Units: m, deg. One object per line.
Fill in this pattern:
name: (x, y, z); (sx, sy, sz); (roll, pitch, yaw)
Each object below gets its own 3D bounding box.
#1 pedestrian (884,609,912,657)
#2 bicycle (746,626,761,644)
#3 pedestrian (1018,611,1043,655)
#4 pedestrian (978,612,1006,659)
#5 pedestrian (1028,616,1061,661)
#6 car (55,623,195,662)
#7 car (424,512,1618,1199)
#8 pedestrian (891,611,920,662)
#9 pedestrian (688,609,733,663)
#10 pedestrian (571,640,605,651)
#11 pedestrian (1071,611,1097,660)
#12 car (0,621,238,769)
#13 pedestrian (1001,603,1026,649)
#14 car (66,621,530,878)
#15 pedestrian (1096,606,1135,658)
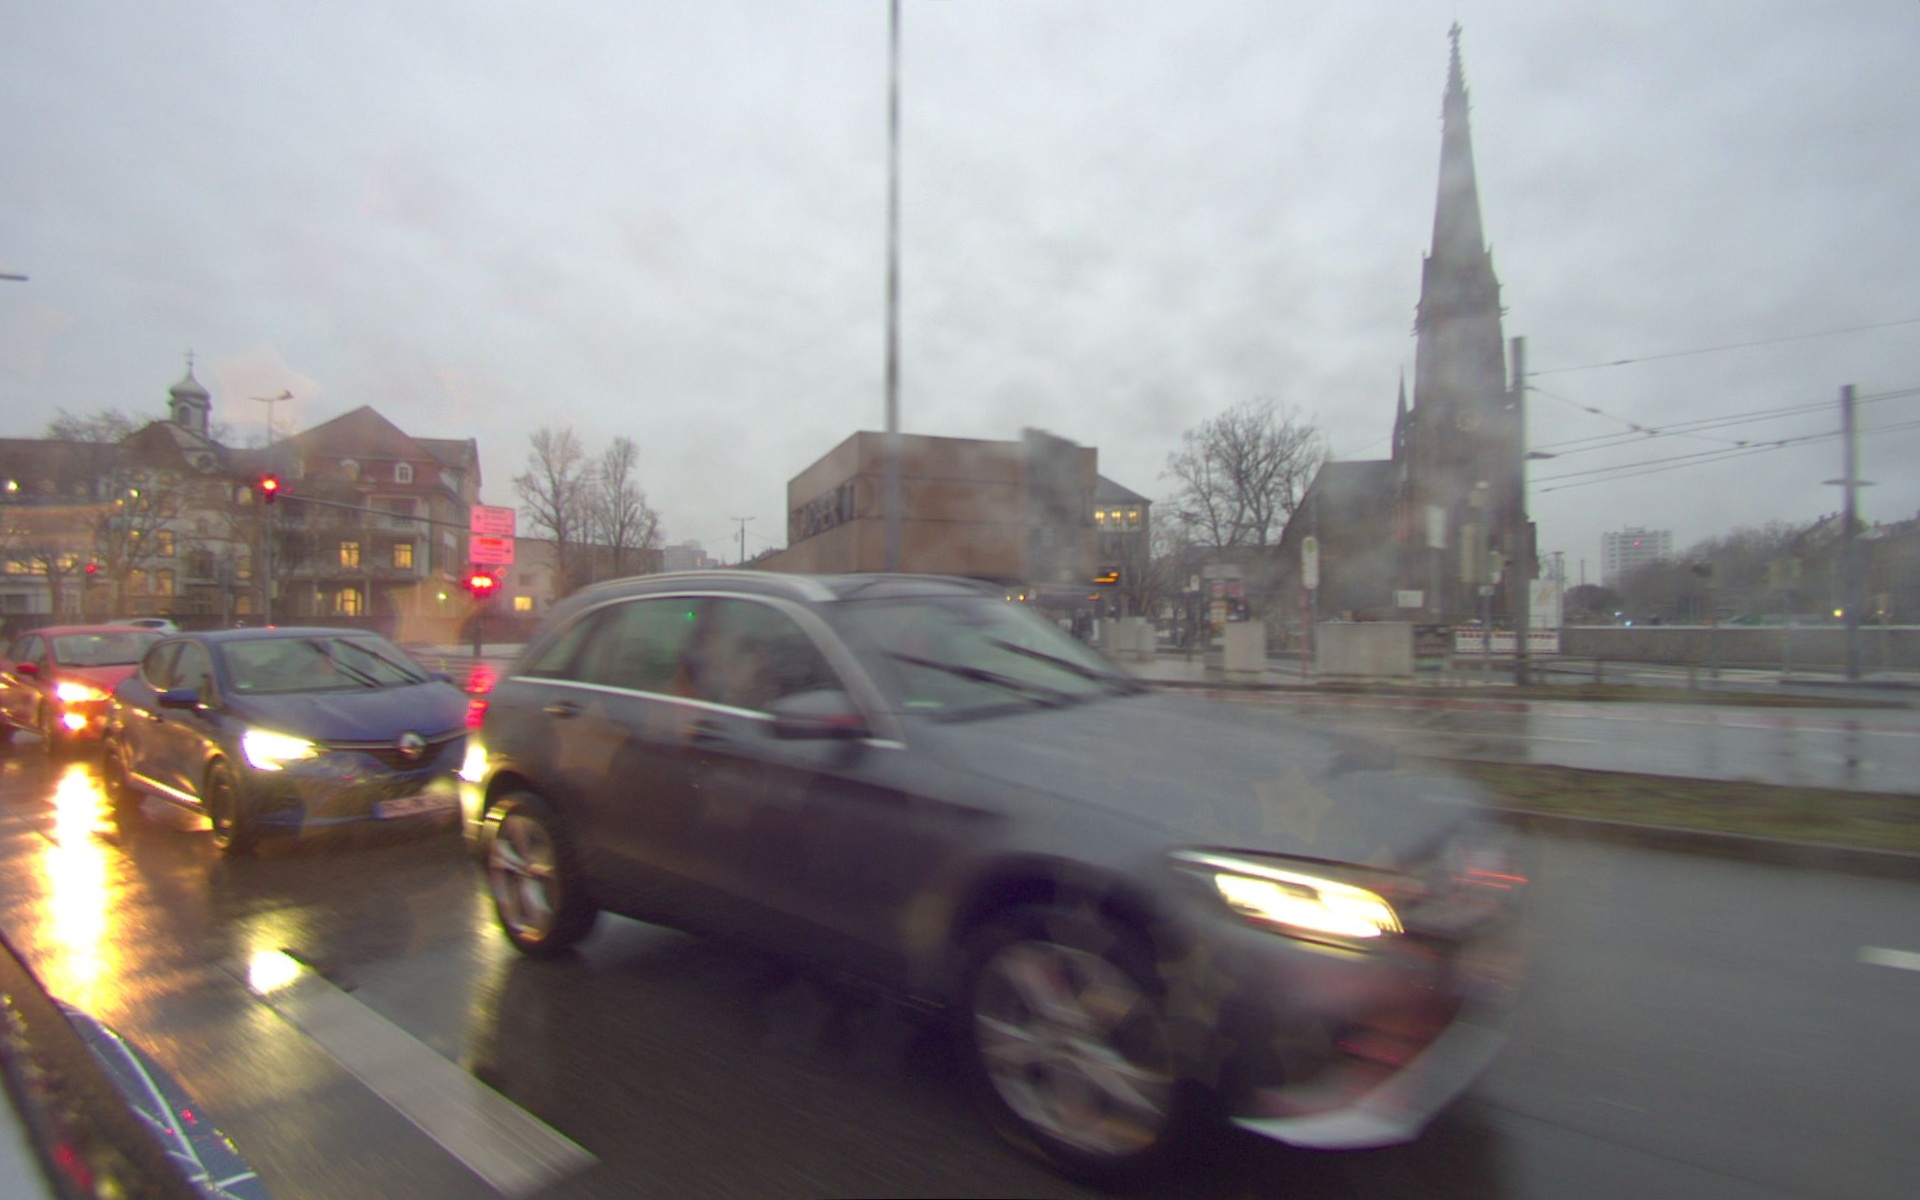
pedestrian: (-2.276, 1.199, 37.015); (0.731, 1.739, 0.745); (2, -3, -42)
bicycle: (-13.345, 2.271, 65.370); (0.636, 1.113, 2.758); (-1, -3, -17)
pedestrian: (2.876, 1.341, 41.214); (0.741, 1.739, 0.734); (-1, -3, 32)
pedestrian: (1.198, 1.329, 38.021); (0.731, 1.739, 0.745); (2, -3, -42)
pedestrian: (3.055, 1.409, 36.779); (0.841, 1.615, 0.968); (1, -2, -21)
car: (-37.952, 1.914, 46.186); (1.821, 1.656, 4.795); (0, -2, 14)
car: (-0.217, 0.662, 4.000); (4.537, 1.613, 1.767); (-1, 0, 40)
pedestrian: (-1.919, 1.290, 35.712); (0.828, 1.781, 0.657); (-1, -3, 23)
pedestrian: (-8.912, 1.290, 36.133); (1.214, 1.872, 1.037); (0, -4, -37)
pedestrian: (-35.905, 4.383, 97.711); (3.047, 0.937, 0.951); (-2, -3, -15)
pedestrian: (4.520, 1.298, 36.736); (0.757, 1.764, 0.795); (-1, -3, 22)
car: (-10.697, 1.055, 12.542); (3.864, 1.493, 1.686); (-1, 1, 36)
pedestrian: (2.060, 1.015, 38.965); (0.741, 1.739, 0.735); (-1, -3, 31)
car: (-5.154, 0.902, 7.678); (4.113, 1.414, 1.644); (-1, 0, 37)
pedestrian: (5.954, 1.227, 38.719); (1.104, 1.933, 1.066); (1, -2, -18)
